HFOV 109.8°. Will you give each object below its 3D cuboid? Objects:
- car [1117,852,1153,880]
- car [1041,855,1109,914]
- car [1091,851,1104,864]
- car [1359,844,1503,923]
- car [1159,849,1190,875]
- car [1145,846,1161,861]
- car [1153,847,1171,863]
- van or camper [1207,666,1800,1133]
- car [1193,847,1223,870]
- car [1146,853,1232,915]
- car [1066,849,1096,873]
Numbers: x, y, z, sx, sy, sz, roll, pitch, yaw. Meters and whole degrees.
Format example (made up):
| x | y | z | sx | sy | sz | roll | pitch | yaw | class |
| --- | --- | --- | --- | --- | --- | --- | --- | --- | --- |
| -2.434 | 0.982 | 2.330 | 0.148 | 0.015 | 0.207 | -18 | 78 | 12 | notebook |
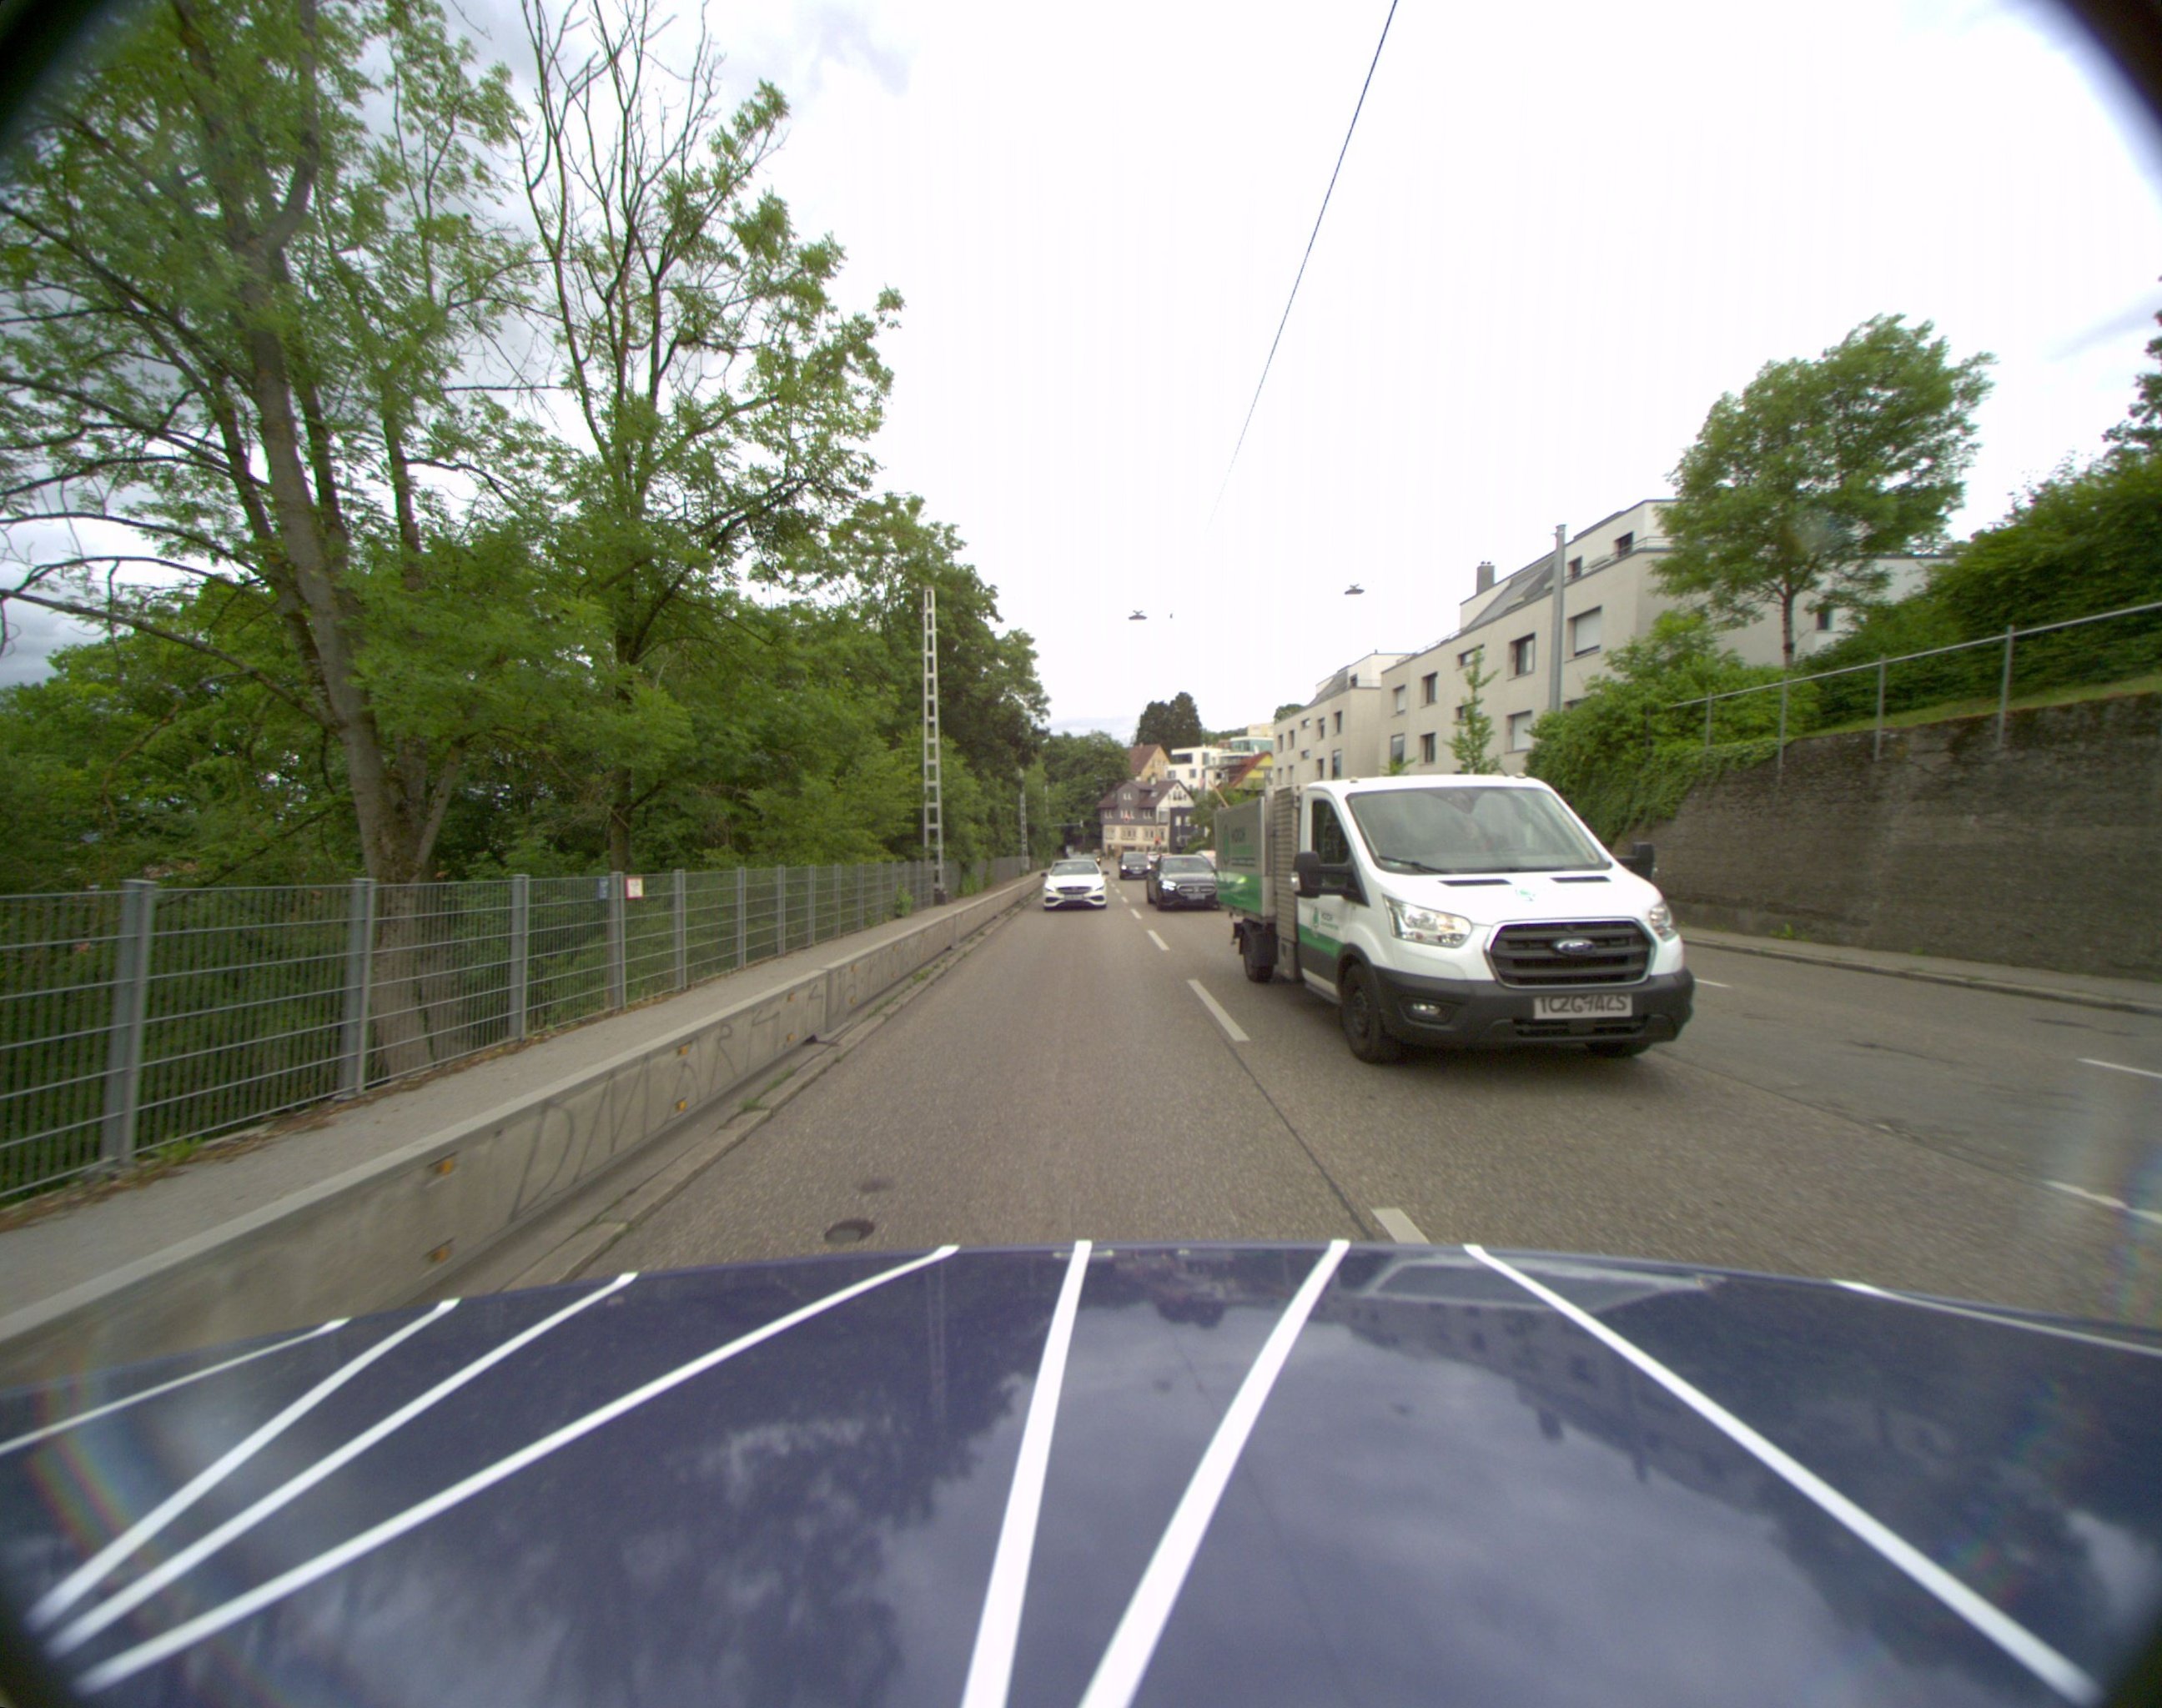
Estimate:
| x | y | z | sx | sy | sz | roll | pitch | yaw | class |
| --- | --- | --- | --- | --- | --- | --- | --- | --- | --- |
| 3.125 | 0.670 | 44.867 | 1.878 | 1.521 | 4.000 | -1 | 1 | 1 | car |
| -0.123 | 0.839 | 22.781 | 1.809 | 1.521 | 4.000 | -1 | 1 | 1 | car |
| 2.216 | 0.437 | 101.412 | 1.709 | 1.702 | 3.868 | 0 | 0 | 1 | car |
| 9.026 | 0.673 | 20.019 | 1.836 | 1.831 | 4.207 | 1 | 1 | 1 | car |
| 6.334 | 0.504 | 51.996 | 1.709 | 1.702 | 3.868 | 0 | 0 | 1 | car |
| 9.179 | -0.041 | 96.813 | 1.743 | 1.873 | 3.743 | 0 | 0 | 1 | car |
| 9.366 | 0.114 | 87.789 | 1.743 | 1.873 | 3.743 | 0 | 0 | 1 | car |
| 2.980 | 0.202 | 7.403 | 2.349 | 2.647 | 5.962 | -2 | 1 | -1 | van or camper |
| 9.543 | 0.304 | 57.392 | 1.709 | 1.702 | 3.868 | 0 | 0 | 1 | car |
| 2.923 | 0.768 | 21.463 | 1.878 | 1.521 | 4.335 | -1 | 1 | 1 | car |
| 0.023 | 0.456 | 50.762 | 1.878 | 1.521 | 4.000 | -1 | 1 | 1 | car |
